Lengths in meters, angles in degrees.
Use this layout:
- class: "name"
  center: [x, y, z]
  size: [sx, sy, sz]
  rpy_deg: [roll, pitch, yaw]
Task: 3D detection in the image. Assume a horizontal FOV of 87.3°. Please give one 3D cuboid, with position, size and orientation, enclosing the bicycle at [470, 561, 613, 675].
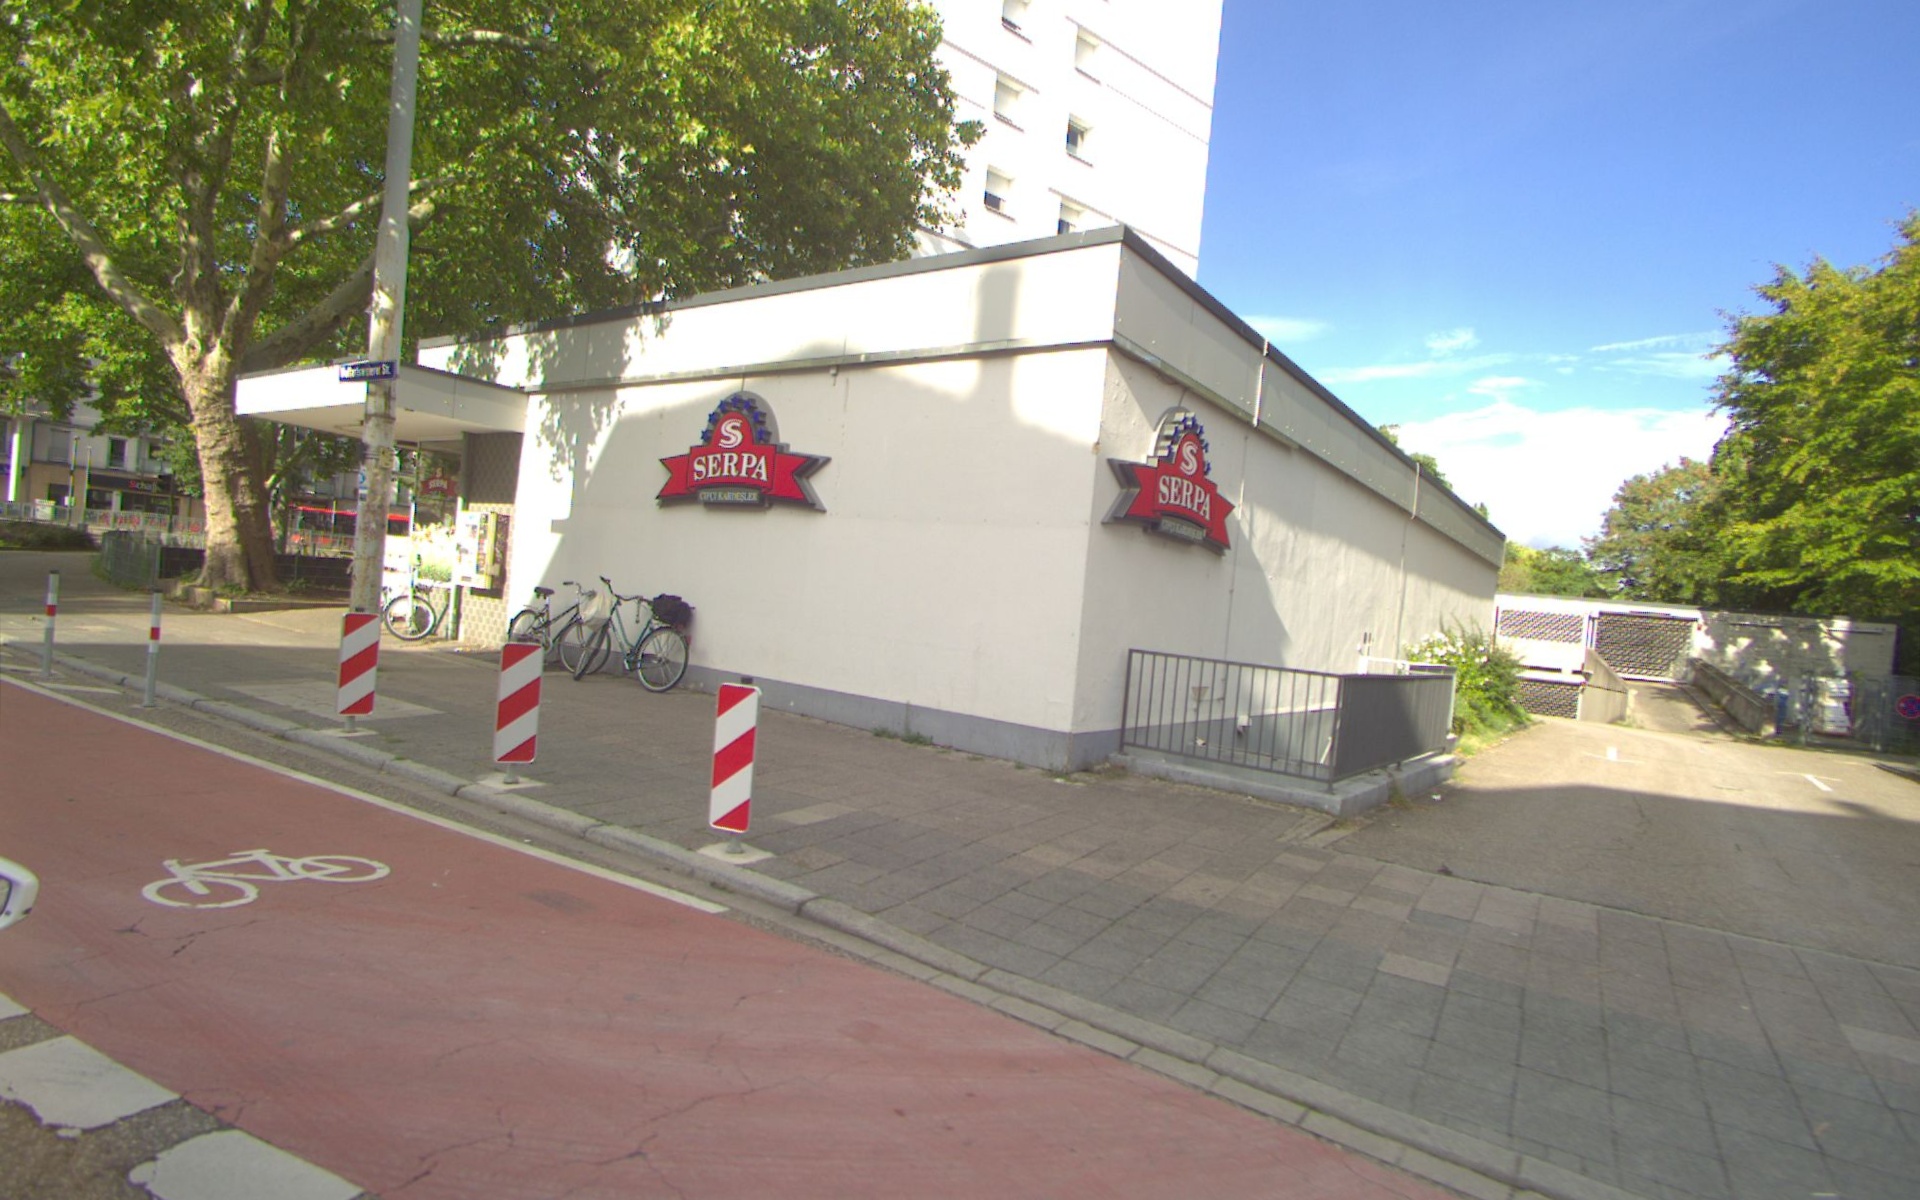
- class: "bicycle"
  center: [-5.133, 0.205, 12.312]
  size: [1.743, 1.221, 0.711]
  rpy_deg: [5, 0, 35]

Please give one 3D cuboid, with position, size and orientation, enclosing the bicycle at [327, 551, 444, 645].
- class: "bicycle"
  center: [-8.231, -0.050, 14.386]
  size: [1.786, 1.222, 0.711]
  rpy_deg: [4, 3, 33]

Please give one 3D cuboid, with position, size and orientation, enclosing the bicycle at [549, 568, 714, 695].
- class: "bicycle"
  center: [-3.690, 0.328, 11.246]
  size: [1.787, 1.222, 0.768]
  rpy_deg: [5, 2, 35]
